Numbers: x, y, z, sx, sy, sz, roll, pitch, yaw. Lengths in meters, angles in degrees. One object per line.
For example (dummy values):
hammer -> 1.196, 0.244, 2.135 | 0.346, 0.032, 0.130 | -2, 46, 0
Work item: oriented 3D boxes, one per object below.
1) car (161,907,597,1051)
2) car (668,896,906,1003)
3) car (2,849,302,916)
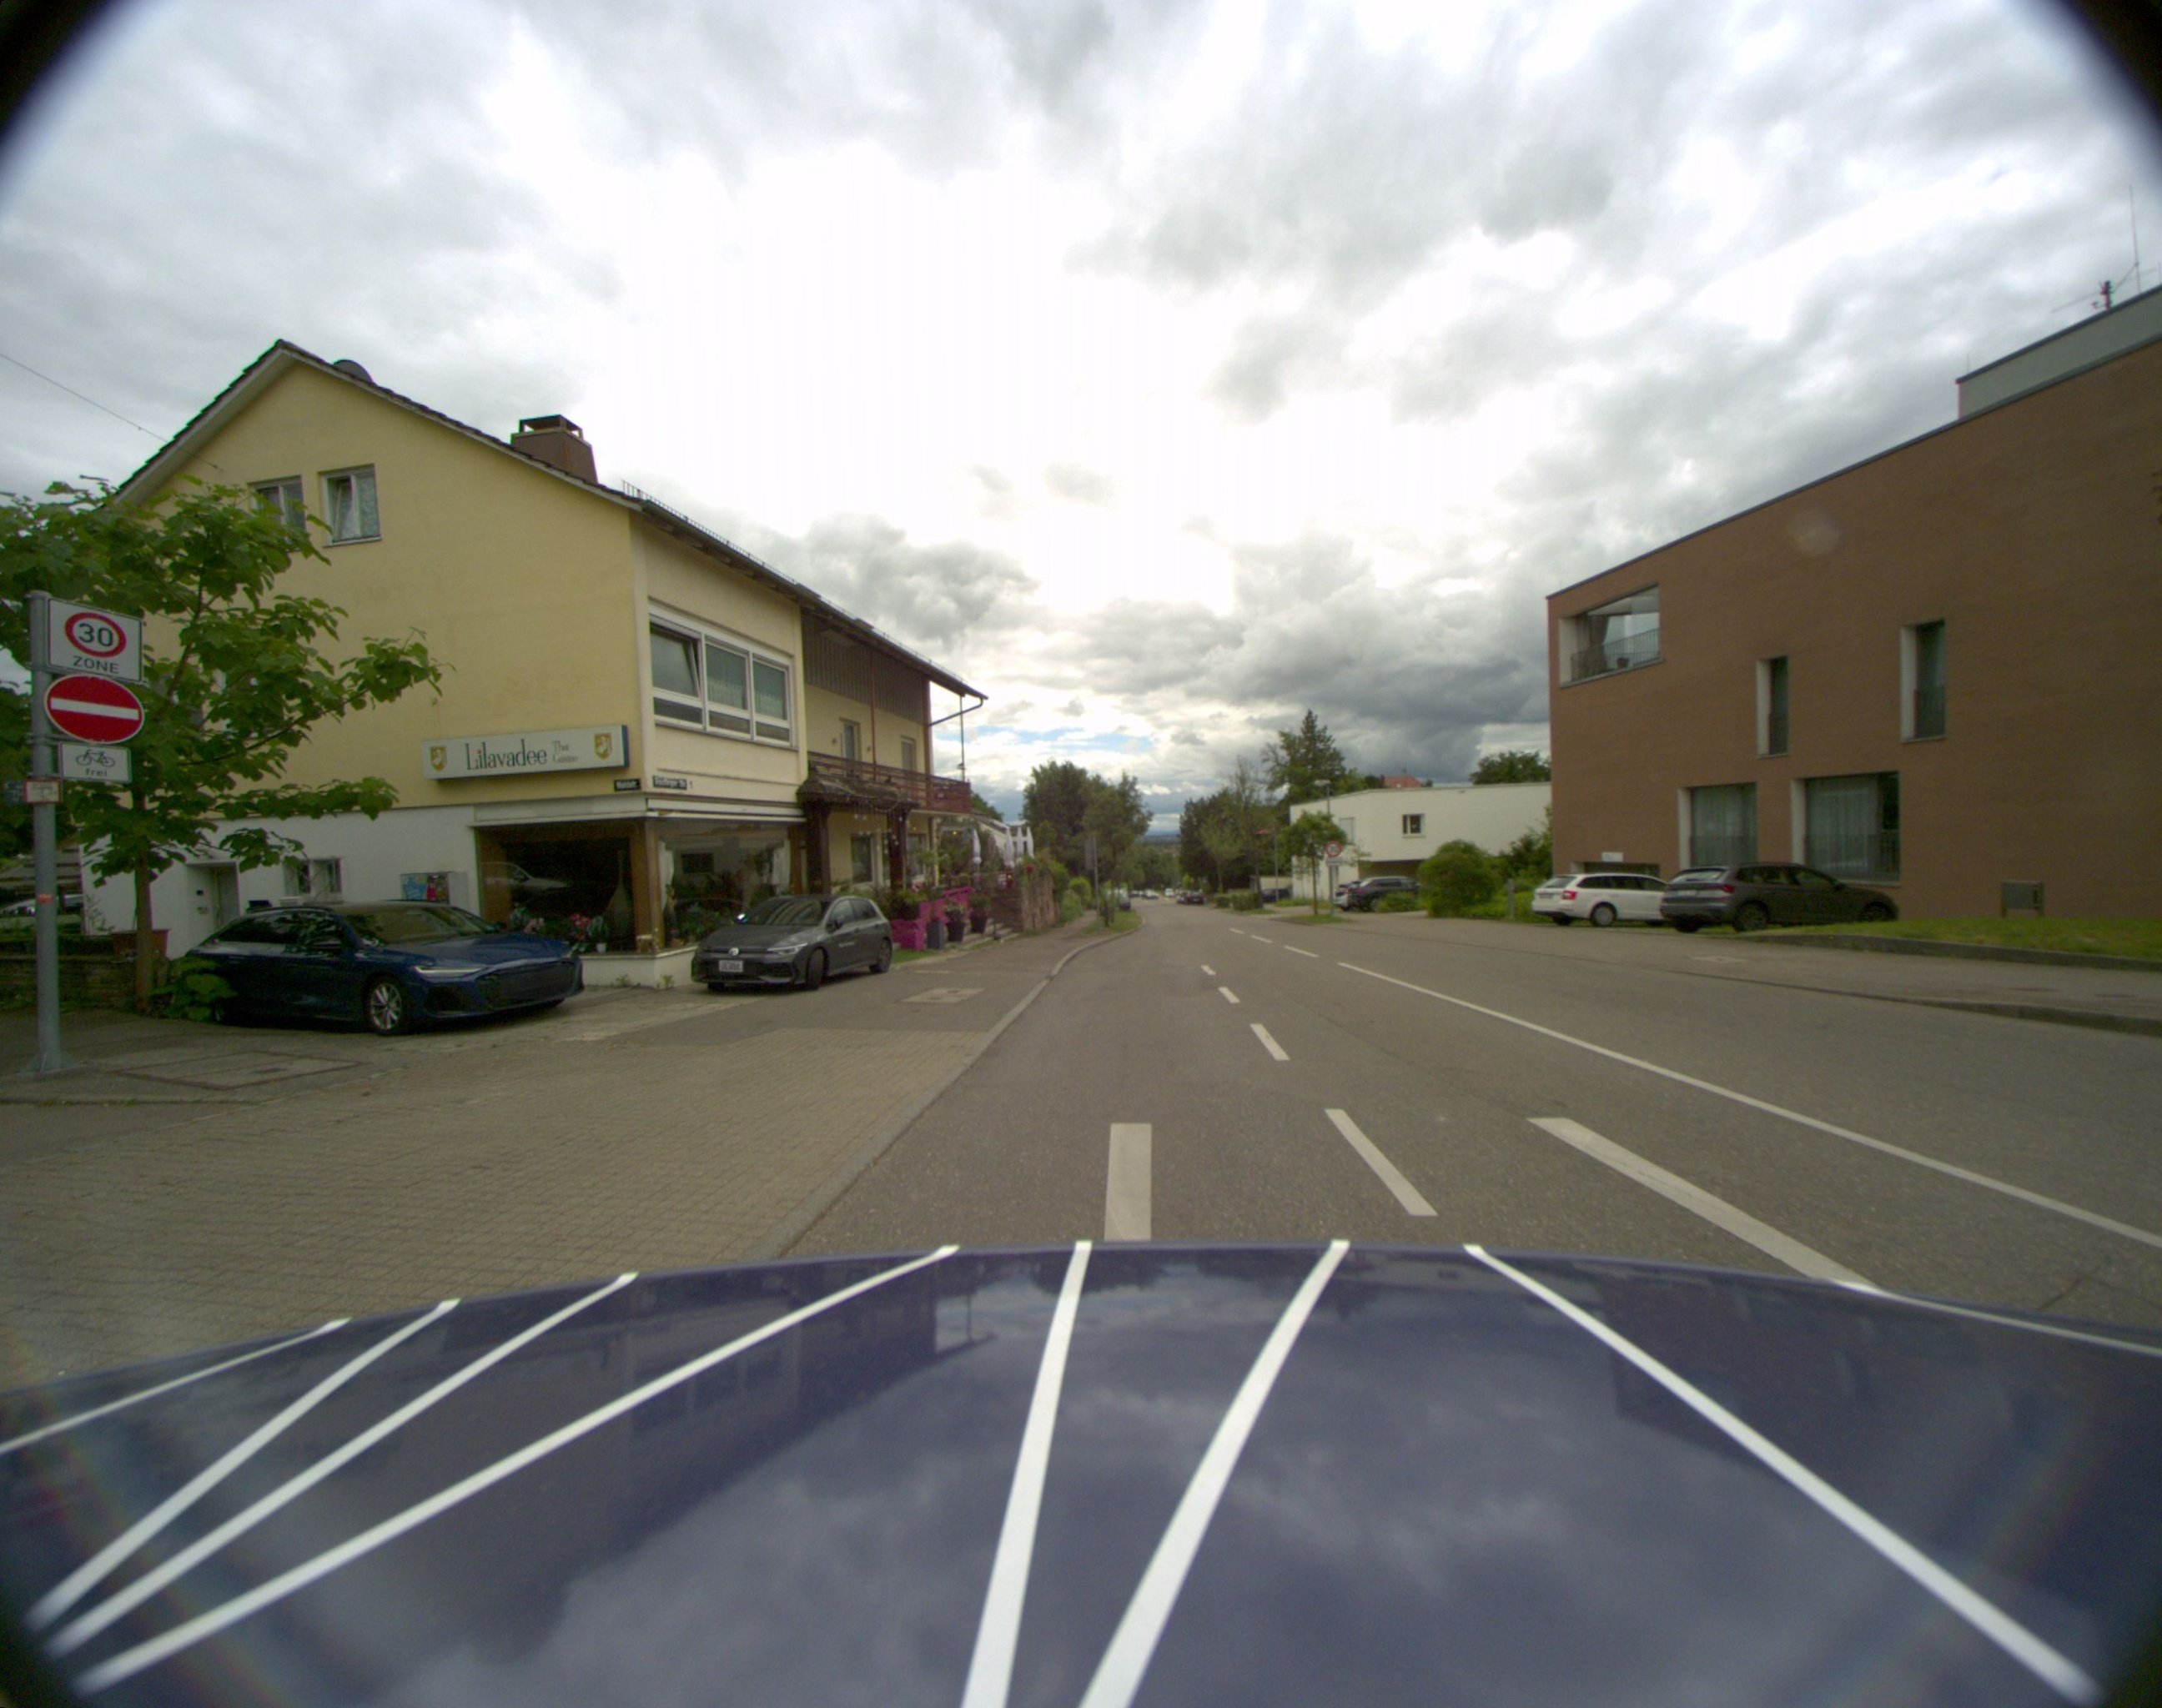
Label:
car -> -8.553, 1.386, 9.298 | 4.739, 1.378, 1.802 | -1, -1, 18
car -> -4.567, 1.453, 12.637 | 1.796, 1.452, 4.332 | -1, -4, 8
car -> -22.715, 0.761, 18.861 | 1.795, 1.452, 4.336 | -2, -4, 22
